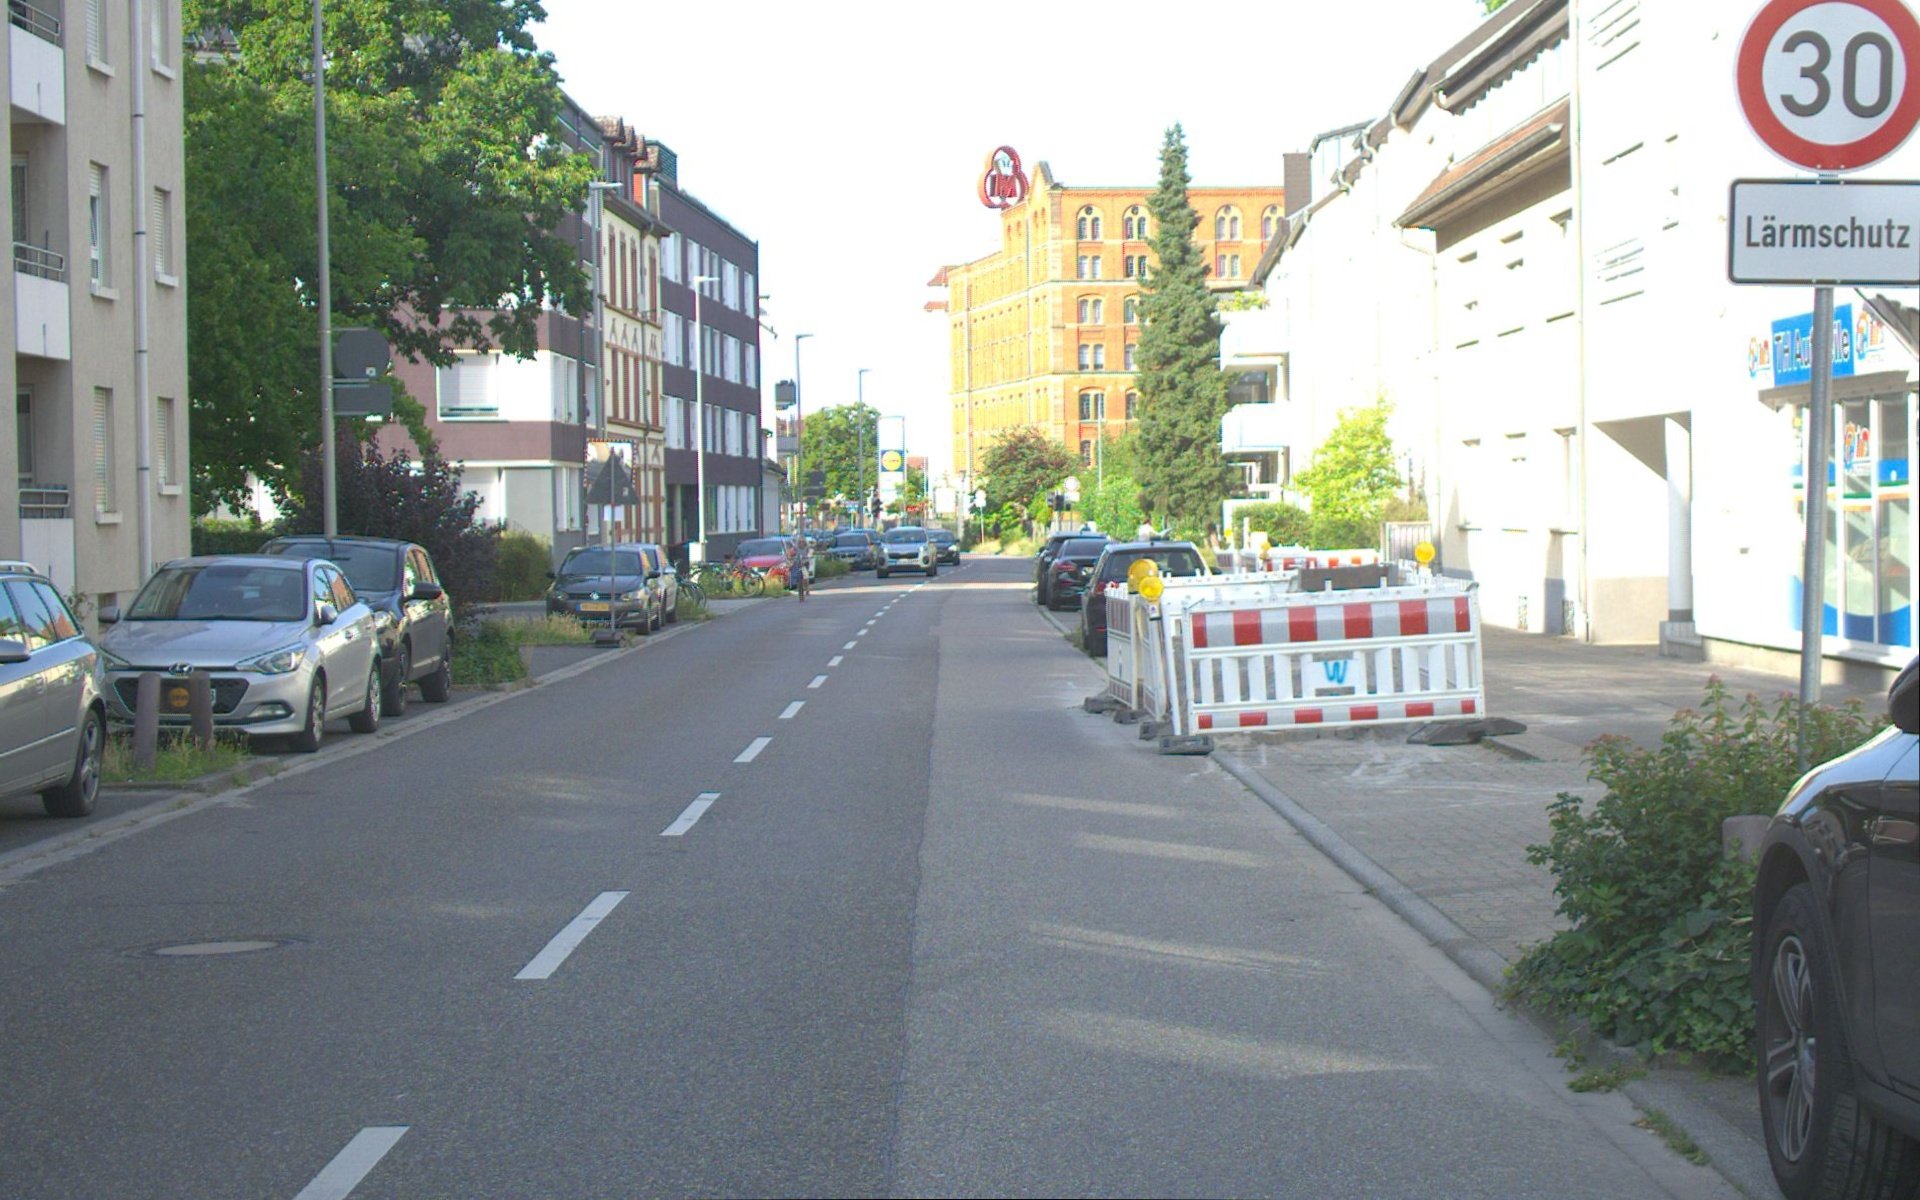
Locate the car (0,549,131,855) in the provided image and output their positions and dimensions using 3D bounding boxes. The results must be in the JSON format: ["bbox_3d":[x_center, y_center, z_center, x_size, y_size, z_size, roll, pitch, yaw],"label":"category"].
[{"bbox_3d":[-5.780,0.510,18.237,1.807,1.516,4.371,0,1,-2],"label":"car"}]

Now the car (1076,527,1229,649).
[{"bbox_3d":[2.502,-0.192,45.548,1.830,1.477,3.943,-1,1,1],"label":"car"}]

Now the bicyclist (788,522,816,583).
[{"bbox_3d":[-3.769,-1.128,82.163,0.591,1.437,0.750,-1,1,1],"label":"bicyclist"}]

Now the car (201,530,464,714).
[{"bbox_3d":[-5.778,0.148,32.125,1.686,1.597,4.370,0,1,0],"label":"car"}]

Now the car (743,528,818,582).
[{"bbox_3d":[-4.936,-1.259,95.101,1.840,1.459,3.585,-1,1,1],"label":"car"}]

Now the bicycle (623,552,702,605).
[{"bbox_3d":[-6.073,-0.439,70.171,1.584,1.037,0.708,-1,1,-5],"label":"bicycle"}]

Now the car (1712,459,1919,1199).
[{"bbox_3d":[2.662,0.543,5.881,1.830,1.624,4.463,-1,1,1],"label":"car"}]

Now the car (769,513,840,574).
[{"bbox_3d":[-5.004,-1.841,110.997,1.993,1.905,3.689,-1,1,1],"label":"car"}]

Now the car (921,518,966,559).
[{"bbox_3d":[-0.664,-2.537,141.522,1.763,1.610,4.000,-2,1,0],"label":"car"}]

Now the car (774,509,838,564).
[{"bbox_3d":[-5.427,-2.246,121.587,1.993,1.875,4.000,-1,1,1],"label":"car"}]

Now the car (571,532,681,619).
[{"bbox_3d":[-6.027,-0.467,62.333,1.676,1.496,4.000,-1,1,-1],"label":"car"}]

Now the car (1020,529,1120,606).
[{"bbox_3d":[2.207,-0.685,69.768,1.859,1.467,4.000,-1,1,0],"label":"car"}]

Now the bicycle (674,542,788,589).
[{"bbox_3d":[-5.789,-0.878,87.182,2.773,1.140,1.143,-1,1,1],"label":"bicycle"}]

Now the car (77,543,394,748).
[{"bbox_3d":[-5.588,0.294,26.975,1.686,1.449,4.141,0,1,-1],"label":"car"}]

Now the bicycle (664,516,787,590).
[{"bbox_3d":[-5.804,-1.175,85.404,2.918,1.771,1.202,-1,1,1],"label":"bicycle"}]

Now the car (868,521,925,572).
[{"bbox_3d":[-2.075,-1.787,113.551,1.763,1.610,4.000,-2,1,0],"label":"car"}]

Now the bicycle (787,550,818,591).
[{"bbox_3d":[-3.758,-0.712,82.152,0.608,0.939,1.811,-1,1,1],"label":"bicycle"}]

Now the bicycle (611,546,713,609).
[{"bbox_3d":[-5.938,-0.456,68.579,2.000,1.213,0.708,-1,1,-5],"label":"bicycle"}]

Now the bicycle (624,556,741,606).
[{"bbox_3d":[-5.602,-0.395,69.453,2.339,0.967,0.708,-1,1,-5],"label":"bicycle"}]

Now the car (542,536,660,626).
[{"bbox_3d":[-5.880,-0.338,56.612,1.573,1.415,3.804,0,1,0],"label":"car"}]

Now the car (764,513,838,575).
[{"bbox_3d":[-4.871,-1.742,105.879,1.993,1.829,3.689,-1,1,1],"label":"car"}]
